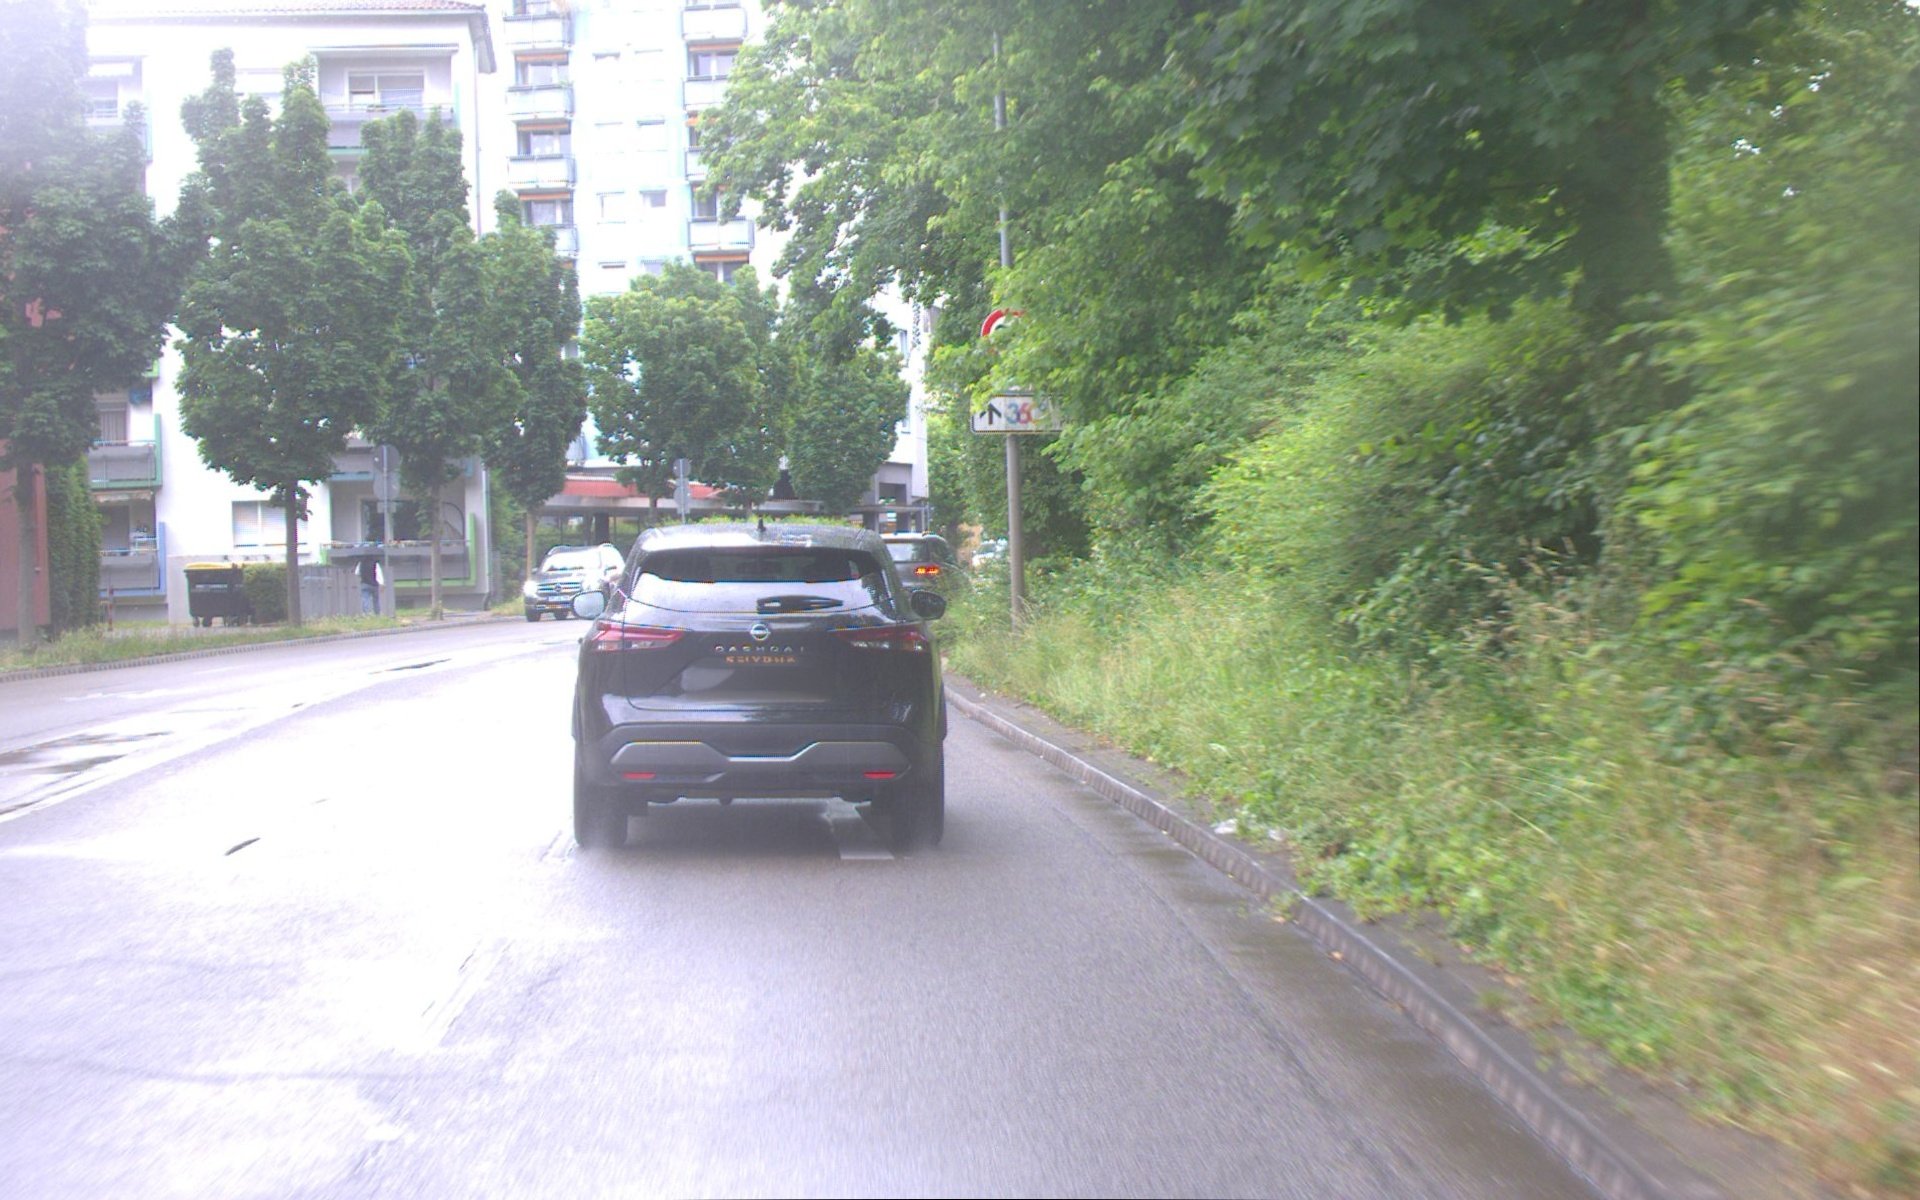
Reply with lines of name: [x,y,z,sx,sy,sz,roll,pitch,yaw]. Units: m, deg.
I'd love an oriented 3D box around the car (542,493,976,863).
car: [-0.994,0.326,18.035,1.959,1.647,4.000,-2,1,-2]

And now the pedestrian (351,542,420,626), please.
pedestrian: [-12.712,-0.357,76.104,1.134,1.797,1.263,-2,1,6]

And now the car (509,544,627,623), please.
car: [-8.890,-0.400,78.297,1.922,1.625,4.501,-3,1,2]

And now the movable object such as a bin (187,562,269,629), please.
movable object such as a bin: [-15.277,-0.108,71.829,1.157,1.327,1.966,-2,1,3]

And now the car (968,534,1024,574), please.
car: [1.405,-1.778,131.157,1.841,1.380,4.360,-3,1,4]

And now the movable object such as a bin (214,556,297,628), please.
movable object such as a bin: [-15.150,-0.178,74.003,1.215,1.479,2.087,-2,1,3]
